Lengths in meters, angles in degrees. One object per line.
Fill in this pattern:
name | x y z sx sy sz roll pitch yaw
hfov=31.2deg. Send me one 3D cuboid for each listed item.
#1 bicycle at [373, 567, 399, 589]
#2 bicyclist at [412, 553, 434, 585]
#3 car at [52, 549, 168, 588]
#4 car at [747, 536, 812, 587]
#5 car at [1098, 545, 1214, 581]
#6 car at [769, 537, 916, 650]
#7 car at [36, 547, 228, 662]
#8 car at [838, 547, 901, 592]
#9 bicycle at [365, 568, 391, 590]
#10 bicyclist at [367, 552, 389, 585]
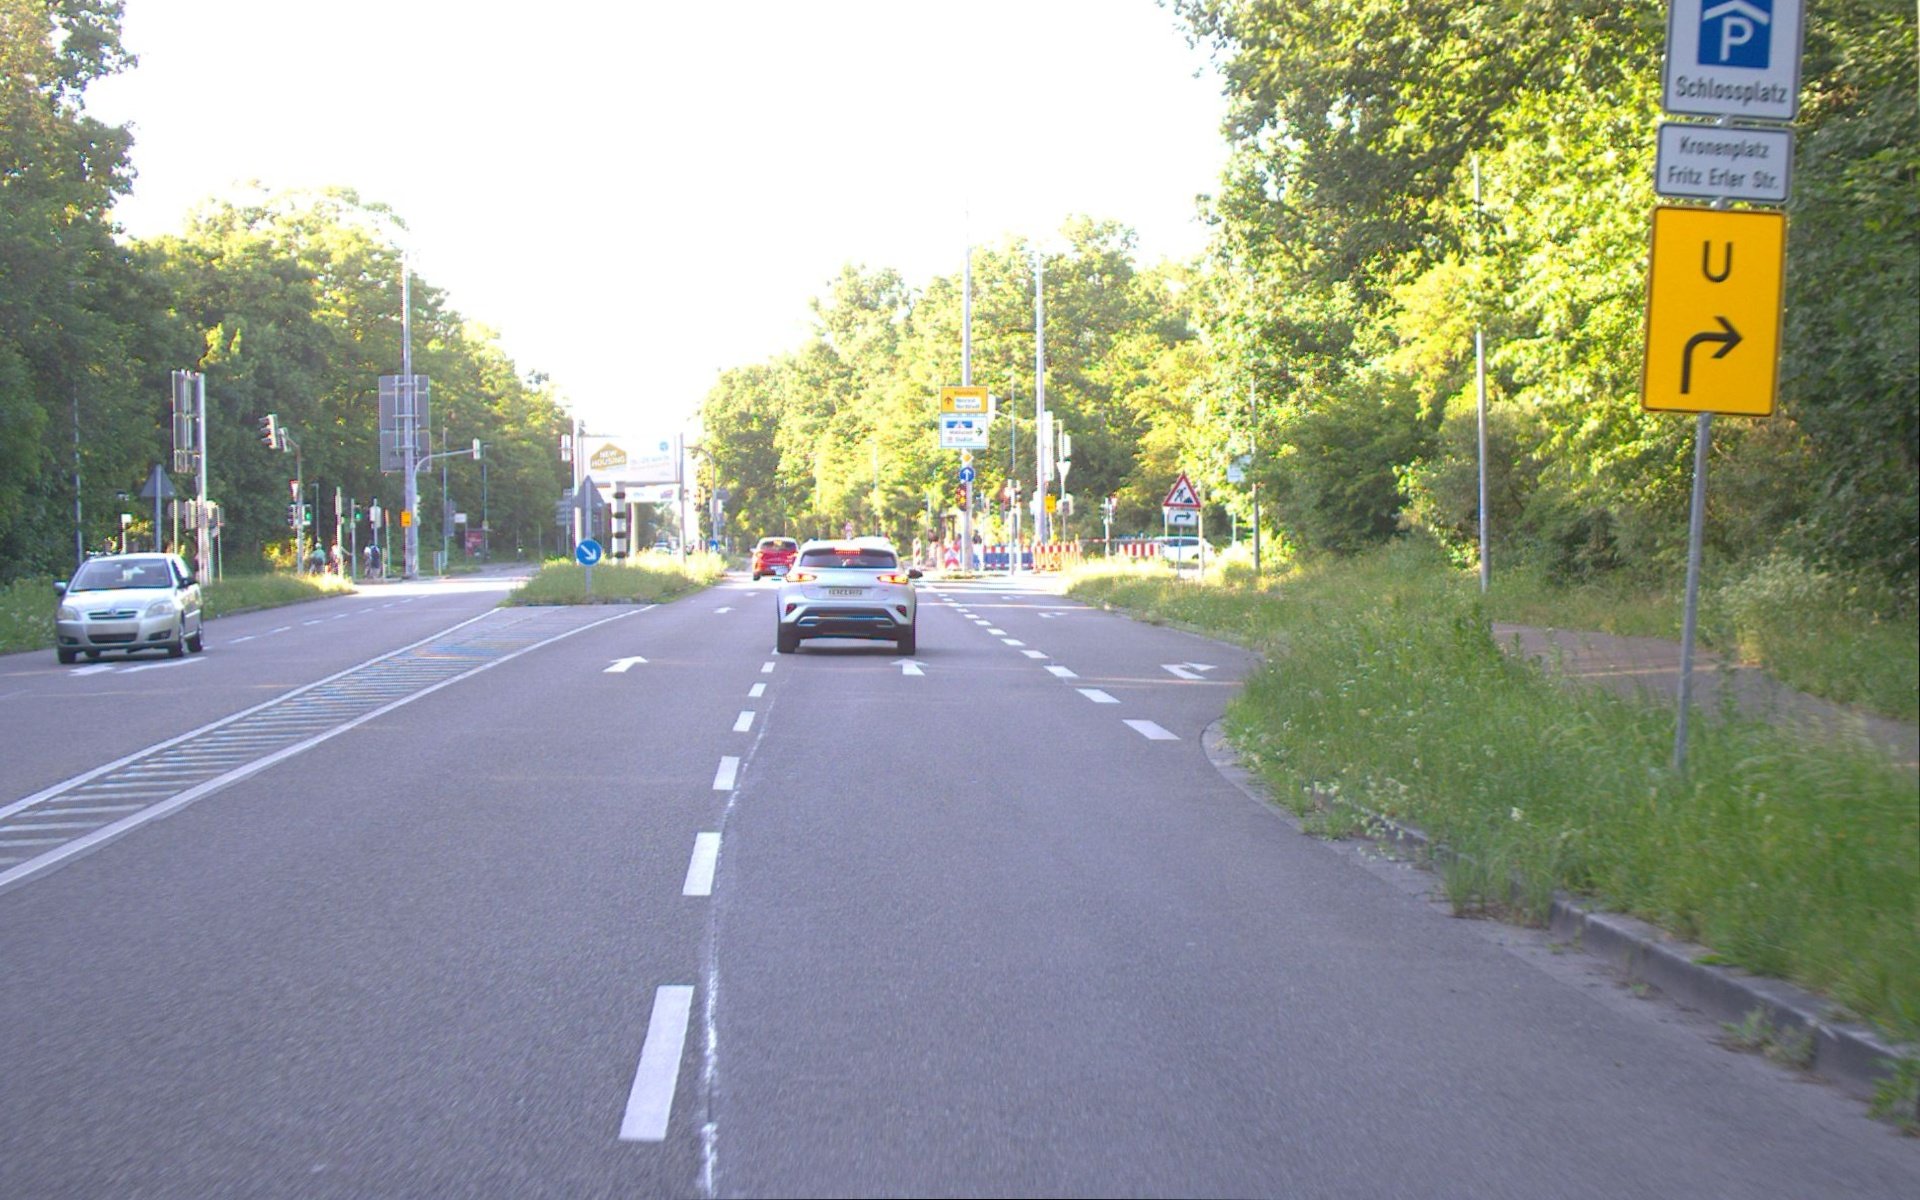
bicycle | -24.345 -0.916 145.826 0.715 0.911 1.911 0 1 1
bicyclist | -22.457 -1.291 143.768 0.715 1.334 0.990 0 1 1
car | -31.237 -1.175 126.409 3.787 1.384 1.929 -1 1 -27
car | -6.153 -1.310 117.020 1.993 1.679 4.001 0 1 -6
car | 8.776 -1.658 154.016 4.816 1.575 2.000 -1 1 -23
car | -1.576 -0.107 45.958 1.863 1.439 4.000 1 1 -2
car | -11.588 0.029 48.381 1.828 1.450 4.481 -3 1 -4
car | -2.881 -0.982 109.625 1.940 1.409 4.000 0 1 -1
bicycle | -24.341 -0.882 143.734 0.715 0.911 1.911 0 1 1
bicyclist | -24.342 -1.314 143.725 0.715 1.351 0.990 0 1 1
